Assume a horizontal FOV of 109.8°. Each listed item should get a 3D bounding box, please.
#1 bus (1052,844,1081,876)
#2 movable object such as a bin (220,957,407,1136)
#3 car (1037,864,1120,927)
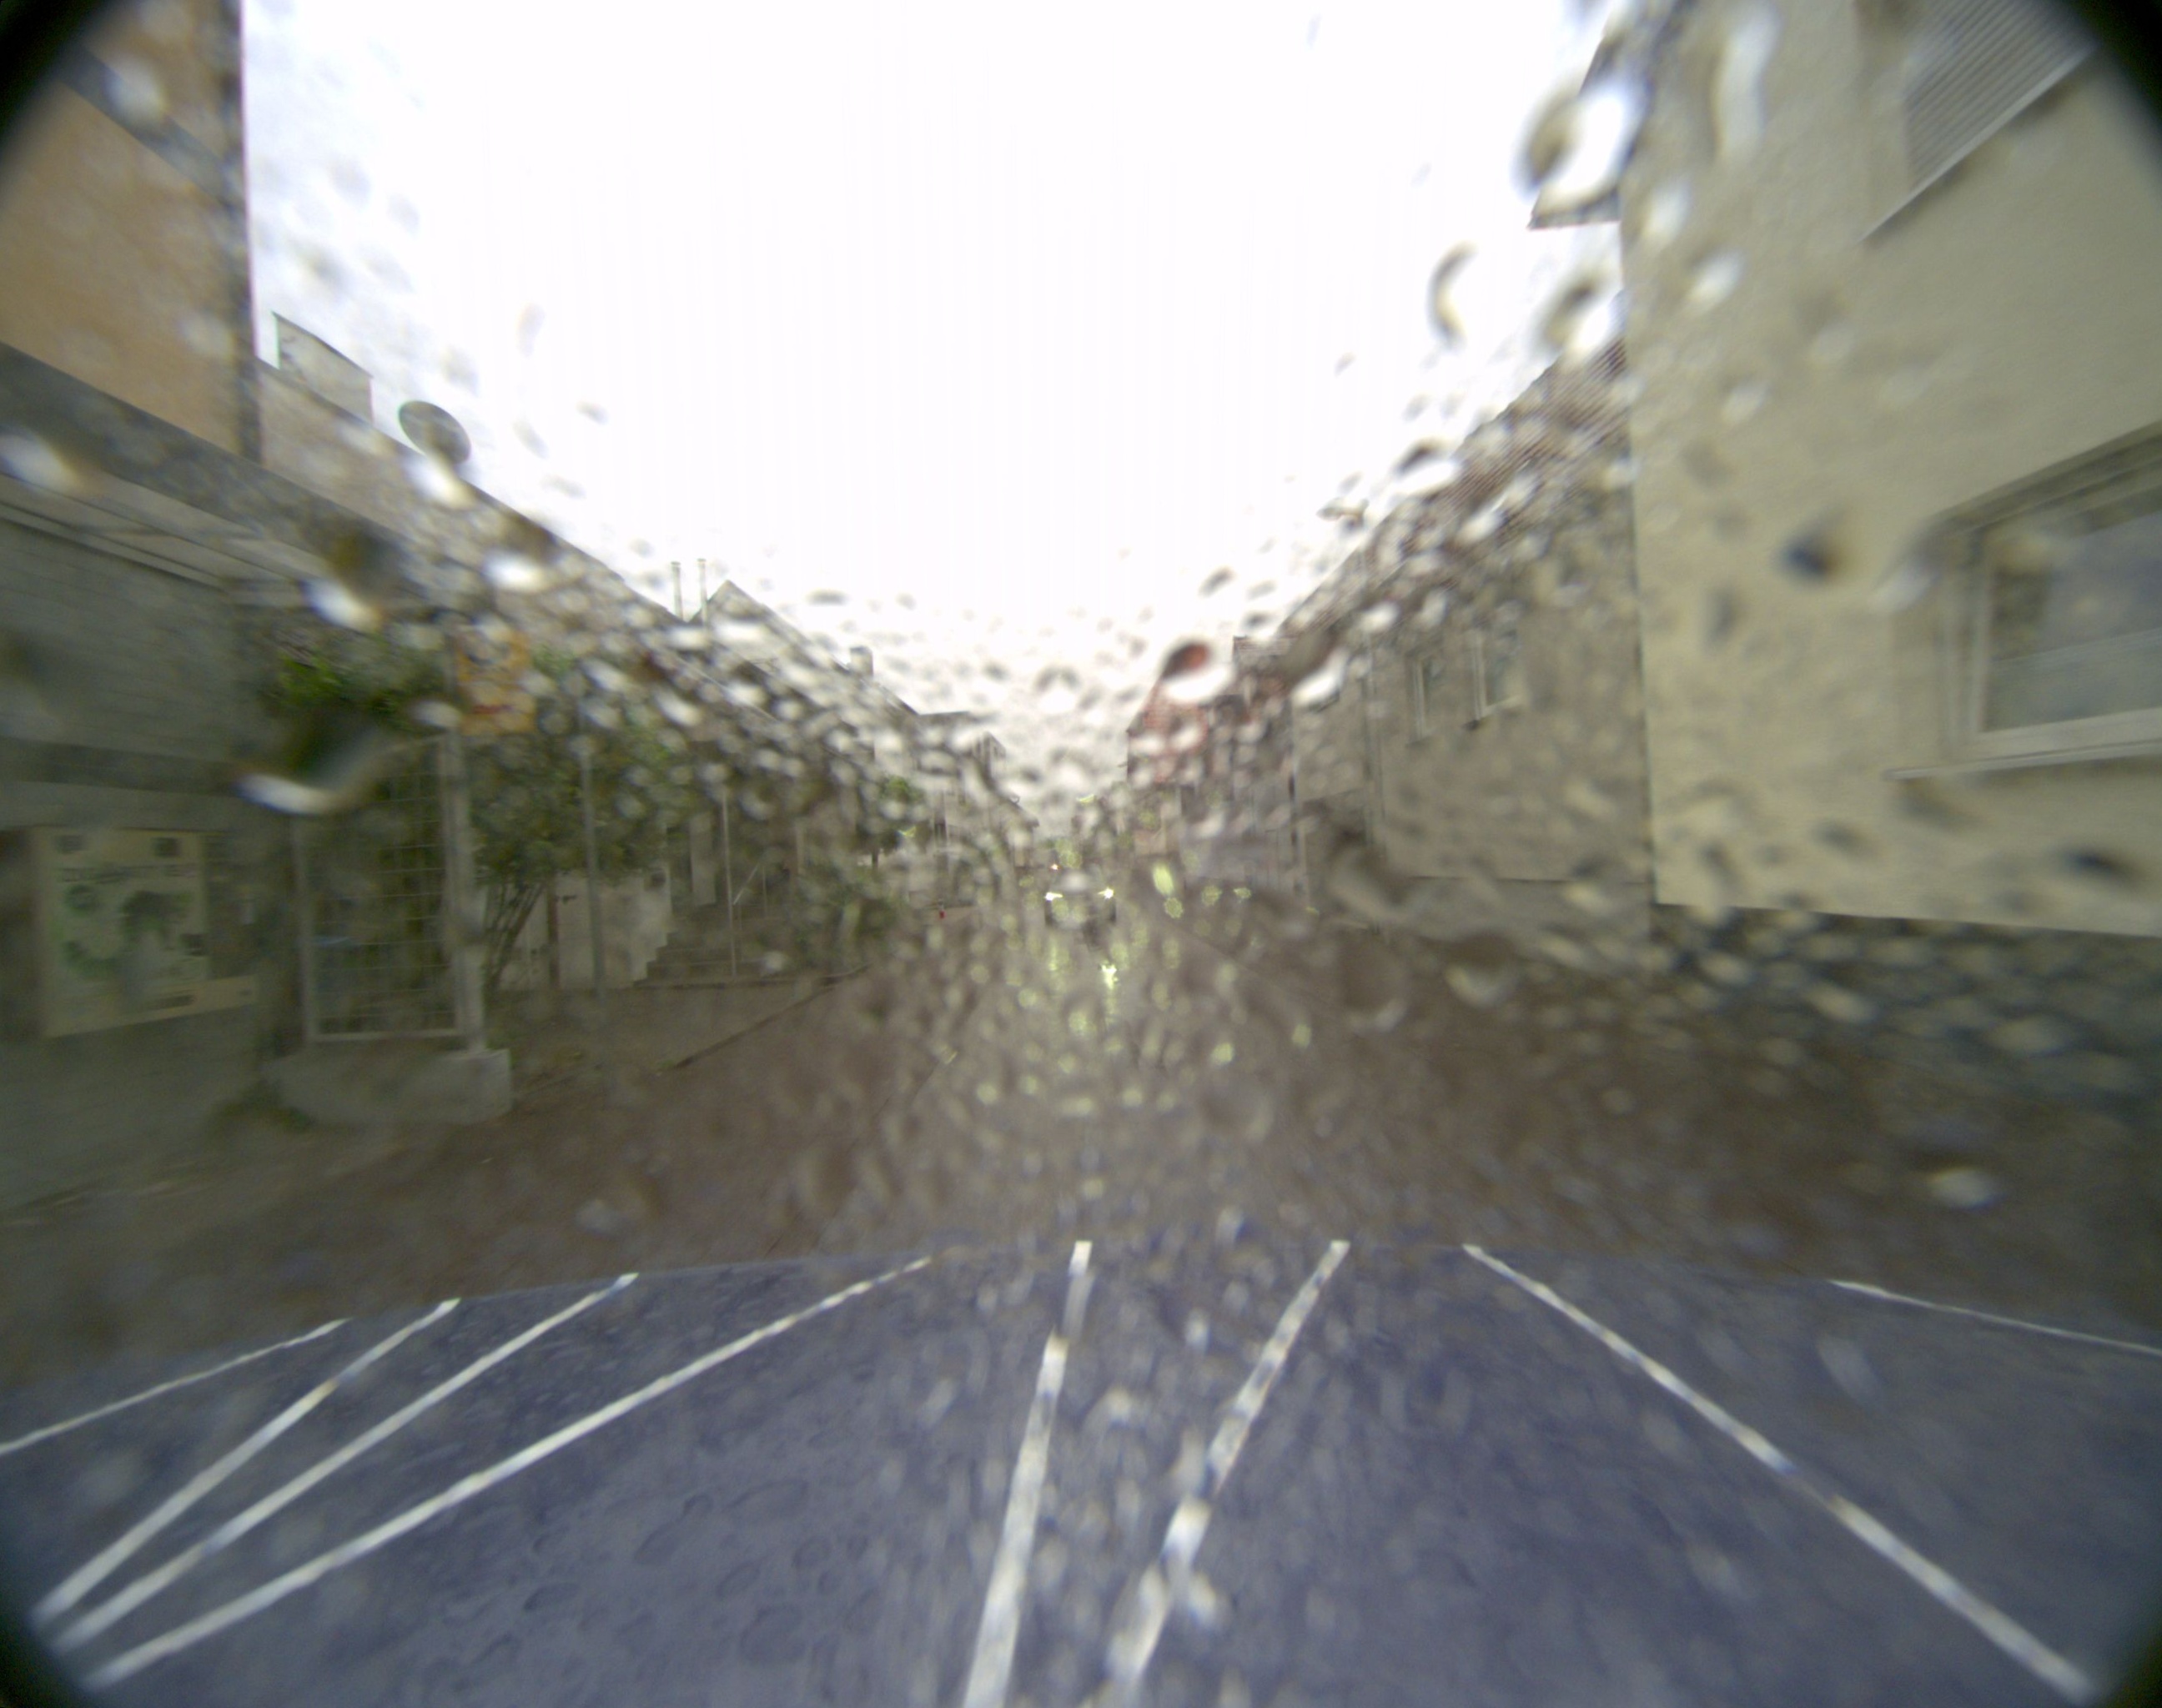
[{"bbox_3d":[-2.006,0.729,96.834,2.893,3.589,11.976,-3,0,-4],"label":"bus"},{"bbox_3d":[-5.383,1.319,5.373,0.510,1.075,0.739,-2,0,4],"label":"movable object such as a bin"},{"bbox_3d":[0.039,1.032,20.214,1.800,1.342,3.739,-3,0,5],"label":"car"}]
